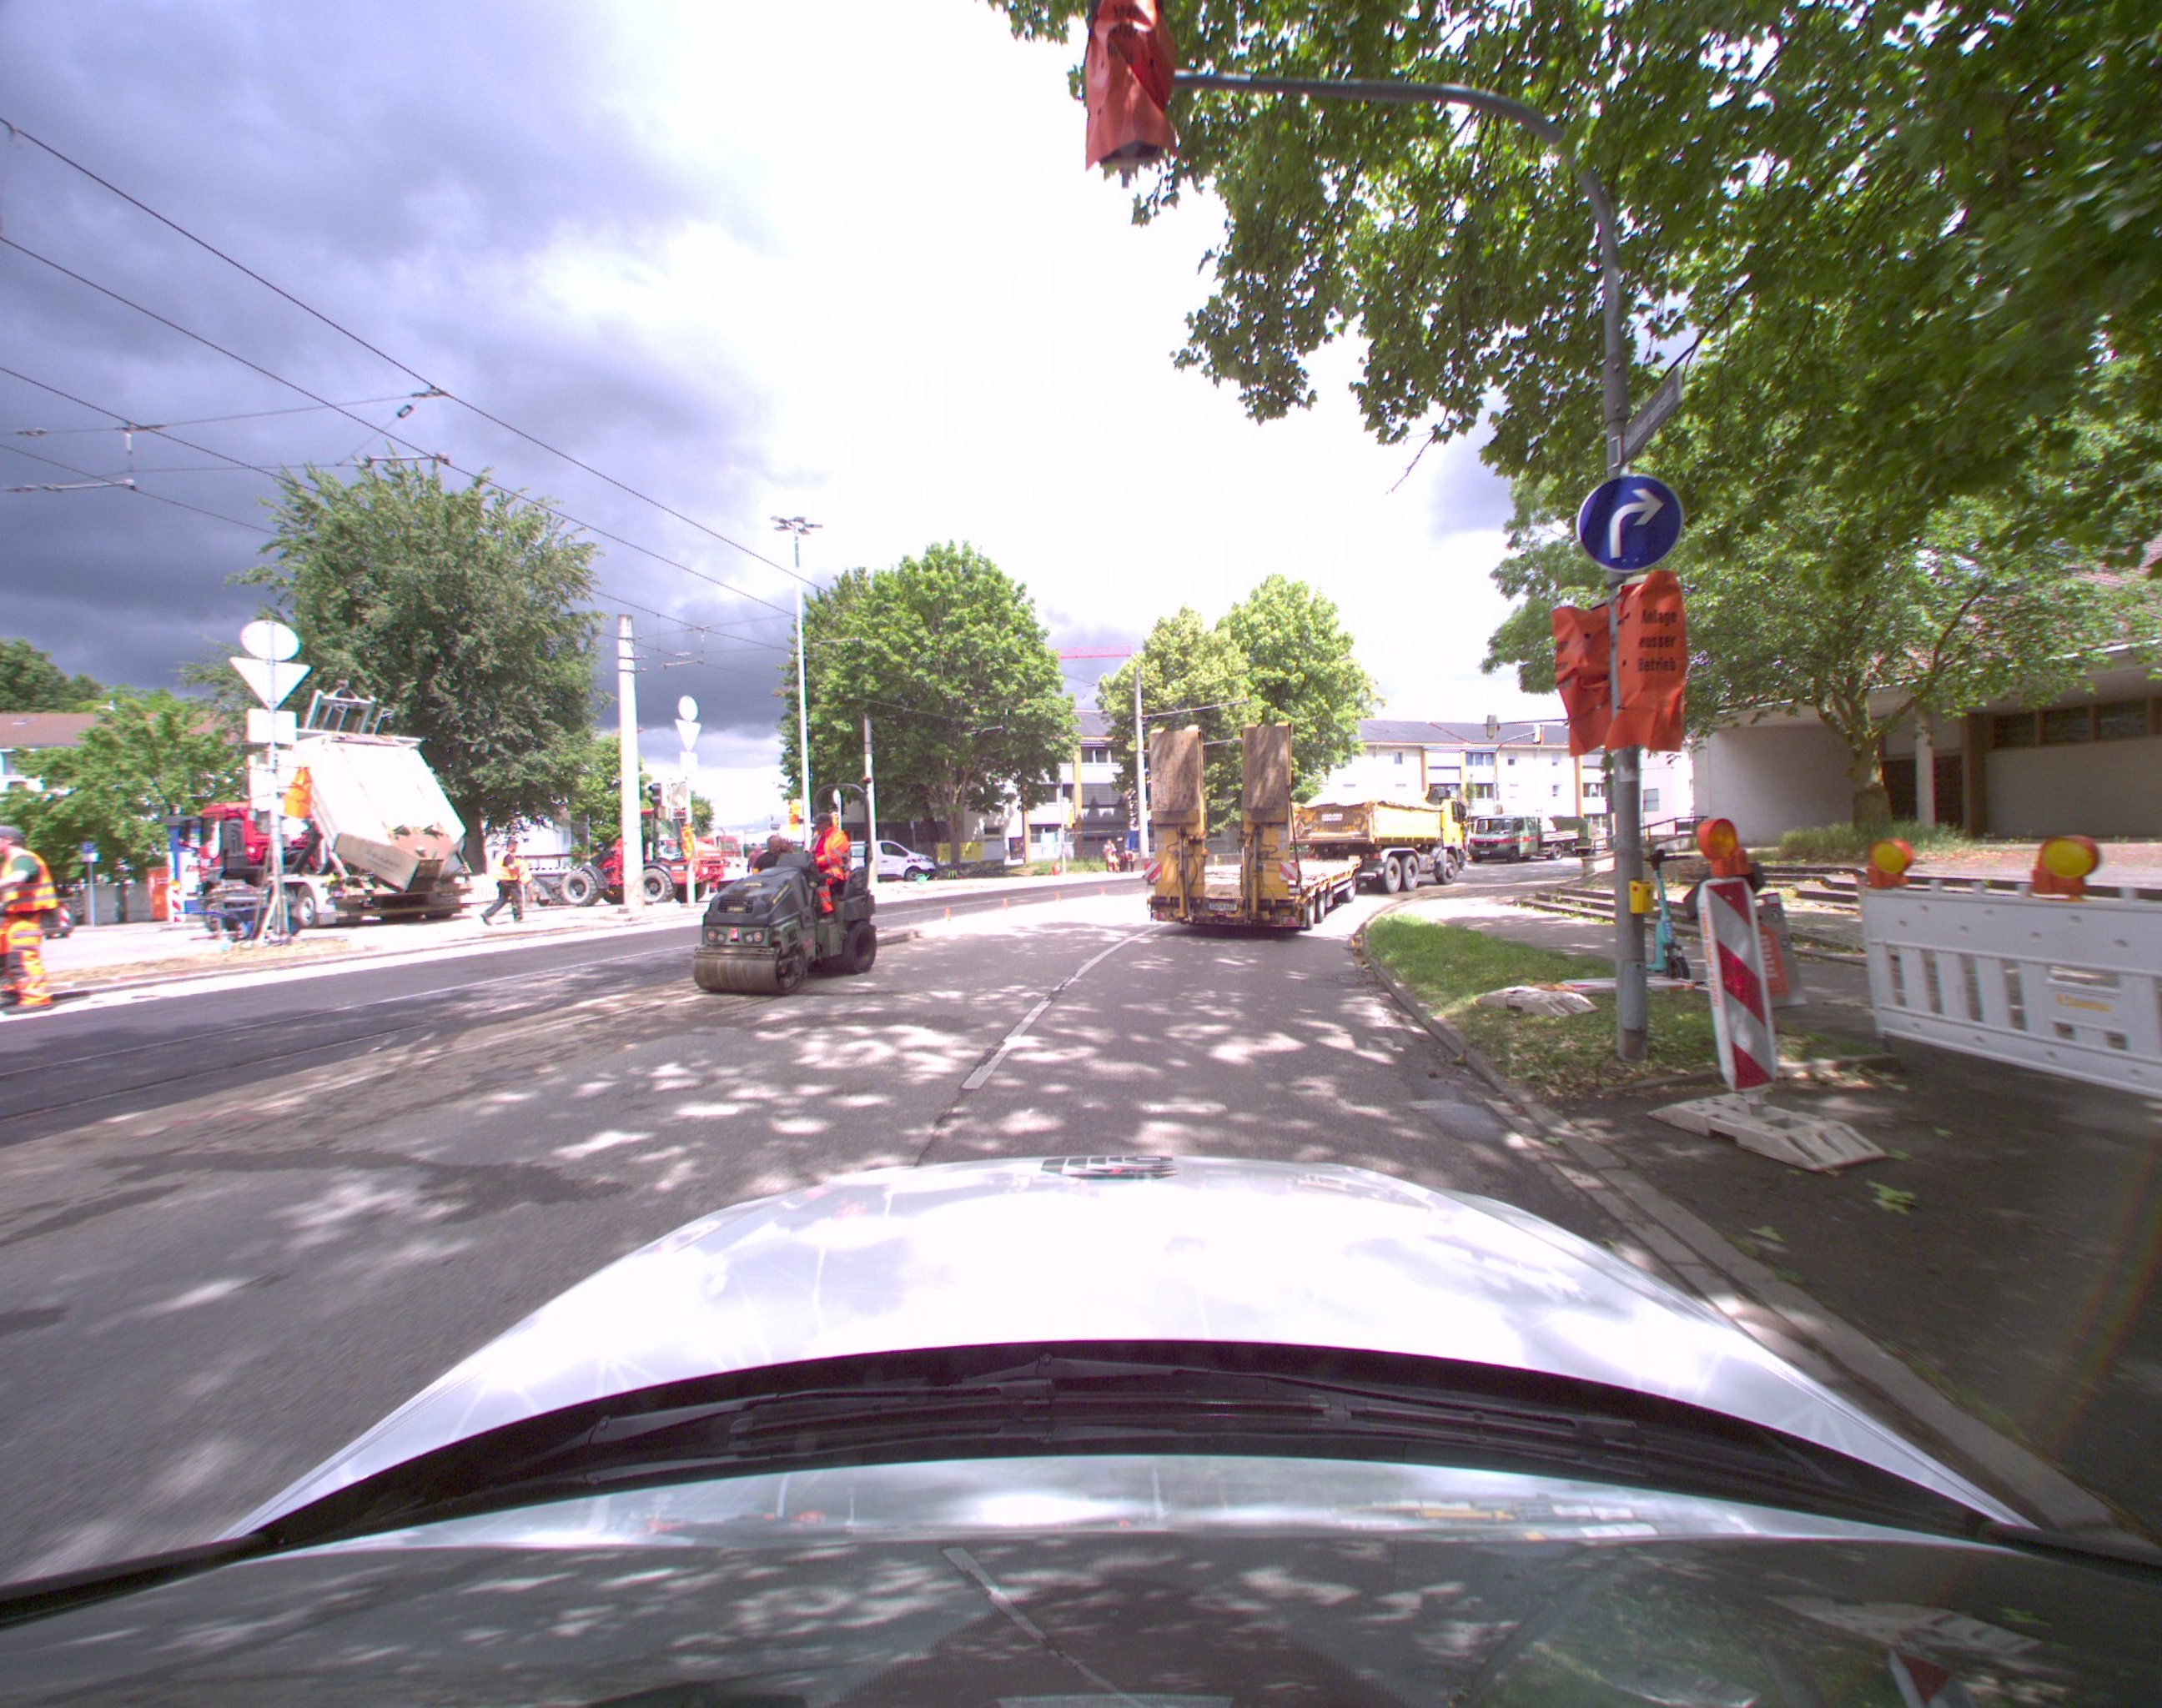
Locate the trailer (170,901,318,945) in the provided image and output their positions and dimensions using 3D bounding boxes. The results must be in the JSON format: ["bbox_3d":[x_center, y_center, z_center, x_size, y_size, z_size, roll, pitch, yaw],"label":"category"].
[{"bbox_3d":[-14.549,1.186,14.207,0.787,0.616,1.607,-3,0,25],"label":"trailer"}]

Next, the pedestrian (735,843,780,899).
[{"bbox_3d":[-9.943,0.500,25.058,0.920,1.659,0.877,-2,1,9],"label":"pedestrian"}]

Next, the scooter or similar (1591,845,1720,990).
[{"bbox_3d":[5.310,0.545,7.599,0.560,1.232,1.199,-2,0,15],"label":"scooter or similar"}]

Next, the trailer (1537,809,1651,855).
[{"bbox_3d":[28.172,-1.225,44.643,6.266,2.213,2.646,-3,3,-29],"label":"trailer"}]

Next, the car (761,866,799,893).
[{"bbox_3d":[-17.788,1.459,48.284,1.776,1.459,3.855,-2,0,-16],"label":"car"}]

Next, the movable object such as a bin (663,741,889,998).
[{"bbox_3d":[-3.421,0.145,9.520,1.307,2.593,2.371,-1,0,14],"label":"movable object such as a bin"}]

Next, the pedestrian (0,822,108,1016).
[{"bbox_3d":[-10.582,0.627,8.110,0.779,1.839,0.768,-2,0,-1],"label":"pedestrian"}]

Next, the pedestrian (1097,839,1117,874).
[{"bbox_3d":[1.164,0.092,37.026,0.759,1.541,0.797,-2,0,-5],"label":"pedestrian"}]

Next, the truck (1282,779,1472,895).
[{"bbox_3d":[9.657,-0.582,25.963,2.890,3.166,7.727,0,2,43],"label":"truck"}]

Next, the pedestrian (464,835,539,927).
[{"bbox_3d":[-11.942,0.533,16.803,0.787,1.832,0.976,-1,0,20],"label":"pedestrian"}]

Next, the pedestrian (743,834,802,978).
[{"bbox_3d":[-3.694,0.606,9.775,0.467,1.681,0.559,0,0,4],"label":"pedestrian"}]

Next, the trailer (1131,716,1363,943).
[{"bbox_3d":[4.367,-0.536,18.263,2.798,3.523,11.115,1,2,24],"label":"trailer"}]

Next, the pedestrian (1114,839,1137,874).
[{"bbox_3d":[2.015,0.104,37.189,0.903,1.533,0.840,-2,0,-5],"label":"pedestrian"}]

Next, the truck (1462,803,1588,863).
[{"bbox_3d":[22.664,-1.126,41.533,6.414,2.724,2.646,-3,3,-29],"label":"truck"}]

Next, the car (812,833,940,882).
[{"bbox_3d":[-8.967,0.158,35.802,5.241,1.887,1.990,-2,-2,-14],"label":"car"}]

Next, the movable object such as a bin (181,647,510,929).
[{"bbox_3d":[-17.555,-1.148,19.243,8.920,5.484,2.839,-3,0,29],"label":"movable object such as a bin"}]

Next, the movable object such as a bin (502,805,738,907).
[{"bbox_3d":[-12.967,0.073,23.105,5.541,2.668,2.120,-1,0,6],"label":"movable object such as a bin"}]

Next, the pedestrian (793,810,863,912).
[{"bbox_3d":[-3.132,0.088,10.115,0.545,1.216,0.619,-2,0,11],"label":"pedestrian"}]

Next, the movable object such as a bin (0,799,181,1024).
[{"bbox_3d":[-10.709,0.549,7.229,1.981,2.013,2.977,-2,0,10],"label":"movable object such as a bin"}]

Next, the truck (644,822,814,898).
[{"bbox_3d":[-13.885,0.236,32.354,5.538,2.568,2.423,-4,0,5],"label":"truck"}]

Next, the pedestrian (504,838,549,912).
[{"bbox_3d":[-13.689,0.504,20.115,0.577,1.788,0.613,-2,1,4],"label":"pedestrian"}]
